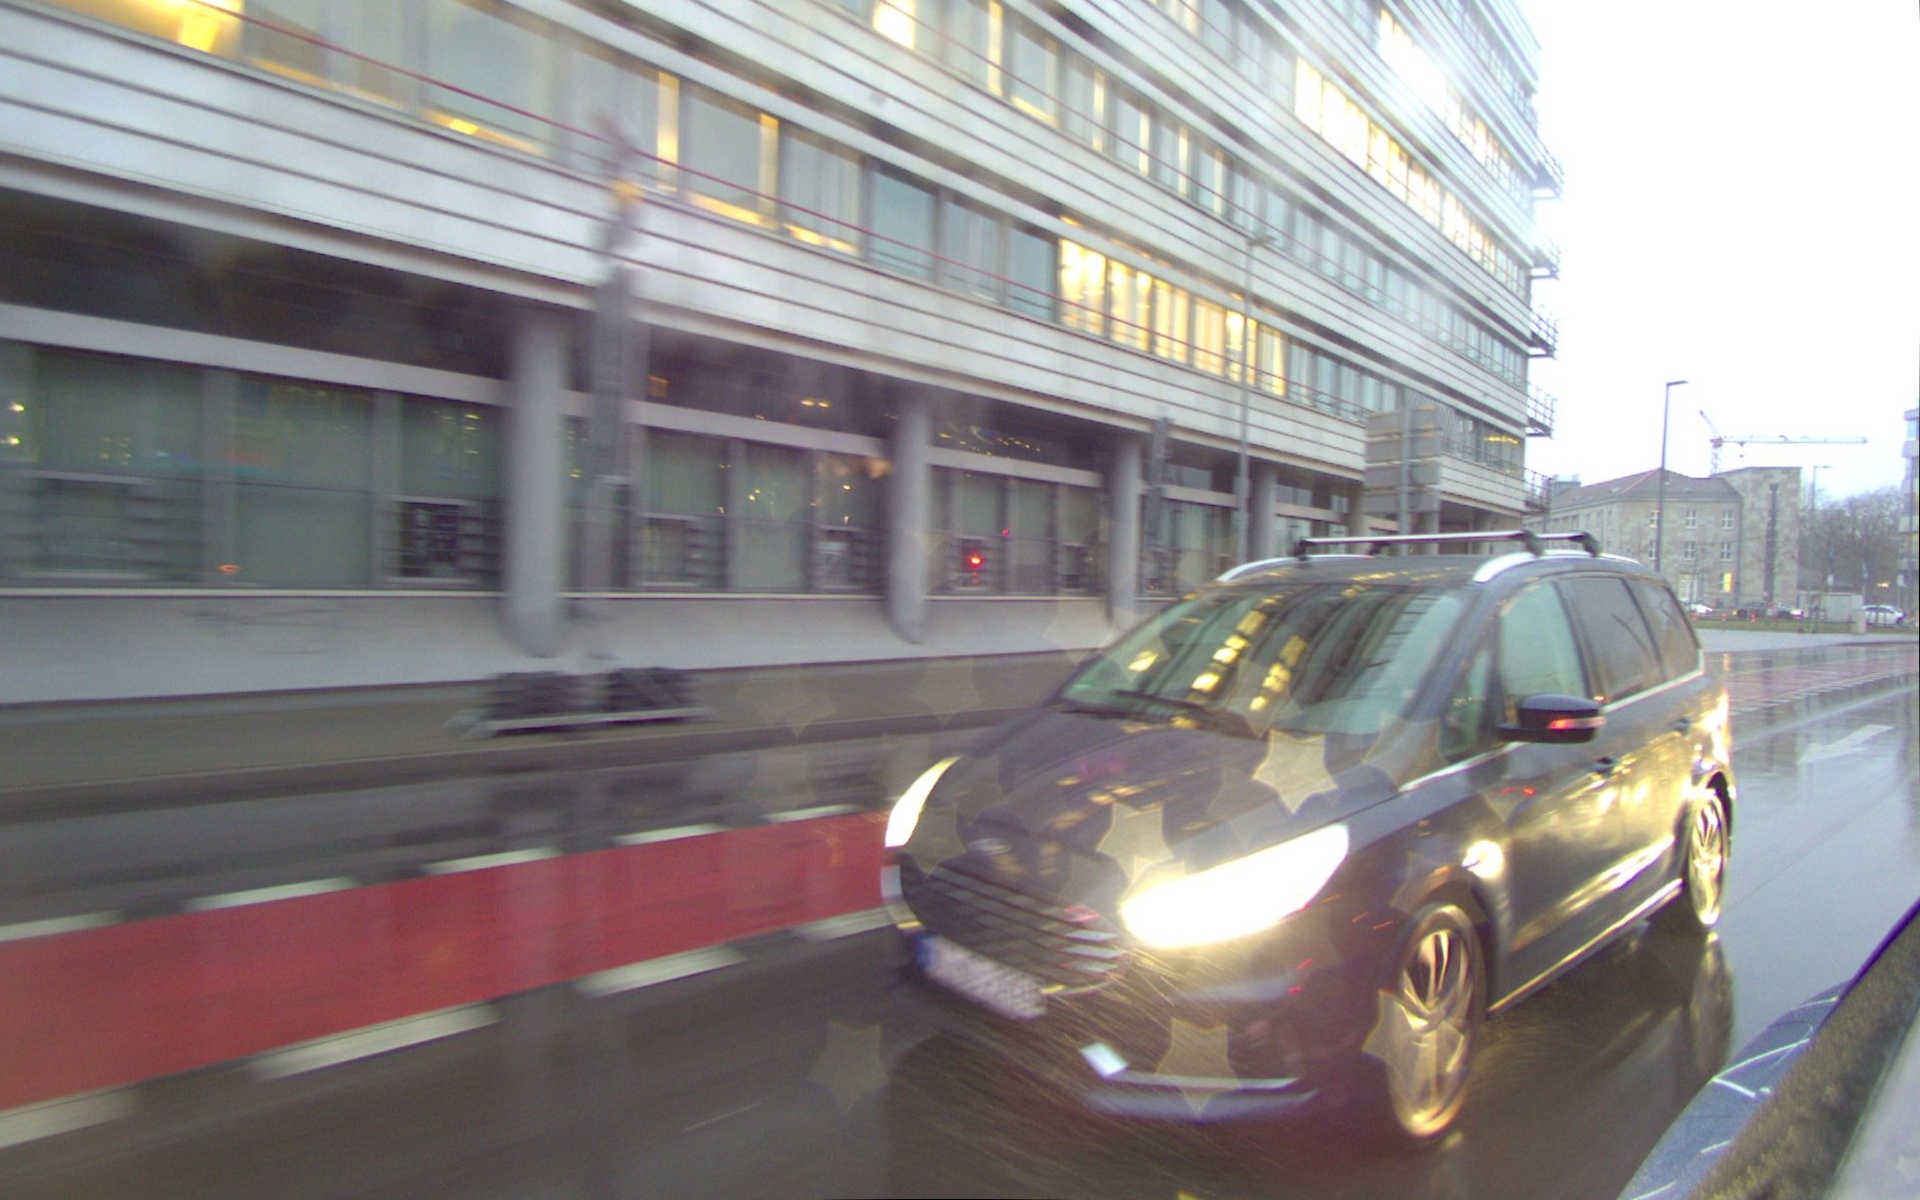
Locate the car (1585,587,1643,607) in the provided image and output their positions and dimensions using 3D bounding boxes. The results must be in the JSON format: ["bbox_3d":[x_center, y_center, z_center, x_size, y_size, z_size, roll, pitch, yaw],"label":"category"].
[{"bbox_3d":[60.460,-0.264,93.634,1.959,1.693,4.012,1,1,-26],"label":"car"}]

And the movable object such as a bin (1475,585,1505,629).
[{"bbox_3d":[17.828,0.226,34.058,0.827,1.446,0.665,0,1,-45],"label":"movable object such as a bin"}]

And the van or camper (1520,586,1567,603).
[{"bbox_3d":[66.849,-0.658,115.991,1.958,1.874,4.386,1,0,-21],"label":"van or camper"}]

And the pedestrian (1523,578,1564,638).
[{"bbox_3d":[17.612,0.233,30.520,0.746,1.722,0.953,6,4,45],"label":"pedestrian"}]

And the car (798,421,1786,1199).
[{"bbox_3d":[1.783,0.532,4.337,4.587,1.834,1.887,0,0,-40],"label":"car"}]

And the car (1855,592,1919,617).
[{"bbox_3d":[68.800,0.335,74.518,1.744,1.730,3.932,1,1,-28],"label":"car"}]

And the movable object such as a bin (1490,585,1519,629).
[{"bbox_3d":[19.036,0.244,35.401,0.827,1.495,0.665,0,1,-45],"label":"movable object such as a bin"}]

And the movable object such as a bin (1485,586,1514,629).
[{"bbox_3d":[18.476,0.244,34.655,0.827,1.446,0.665,0,1,-45],"label":"movable object such as a bin"}]

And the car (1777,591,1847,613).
[{"bbox_3d":[66.418,0.138,78.962,1.743,1.556,3.774,1,2,-25],"label":"car"}]

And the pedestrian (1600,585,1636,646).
[{"bbox_3d":[18.696,0.432,28.767,0.615,1.689,0.870,4,3,45],"label":"pedestrian"}]

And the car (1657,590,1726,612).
[{"bbox_3d":[63.032,0.085,87.249,1.959,1.782,4.385,1,1,-26],"label":"car"}]

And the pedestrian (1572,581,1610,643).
[{"bbox_3d":[18.243,0.344,29.261,0.650,1.723,0.870,5,3,45],"label":"pedestrian"}]
